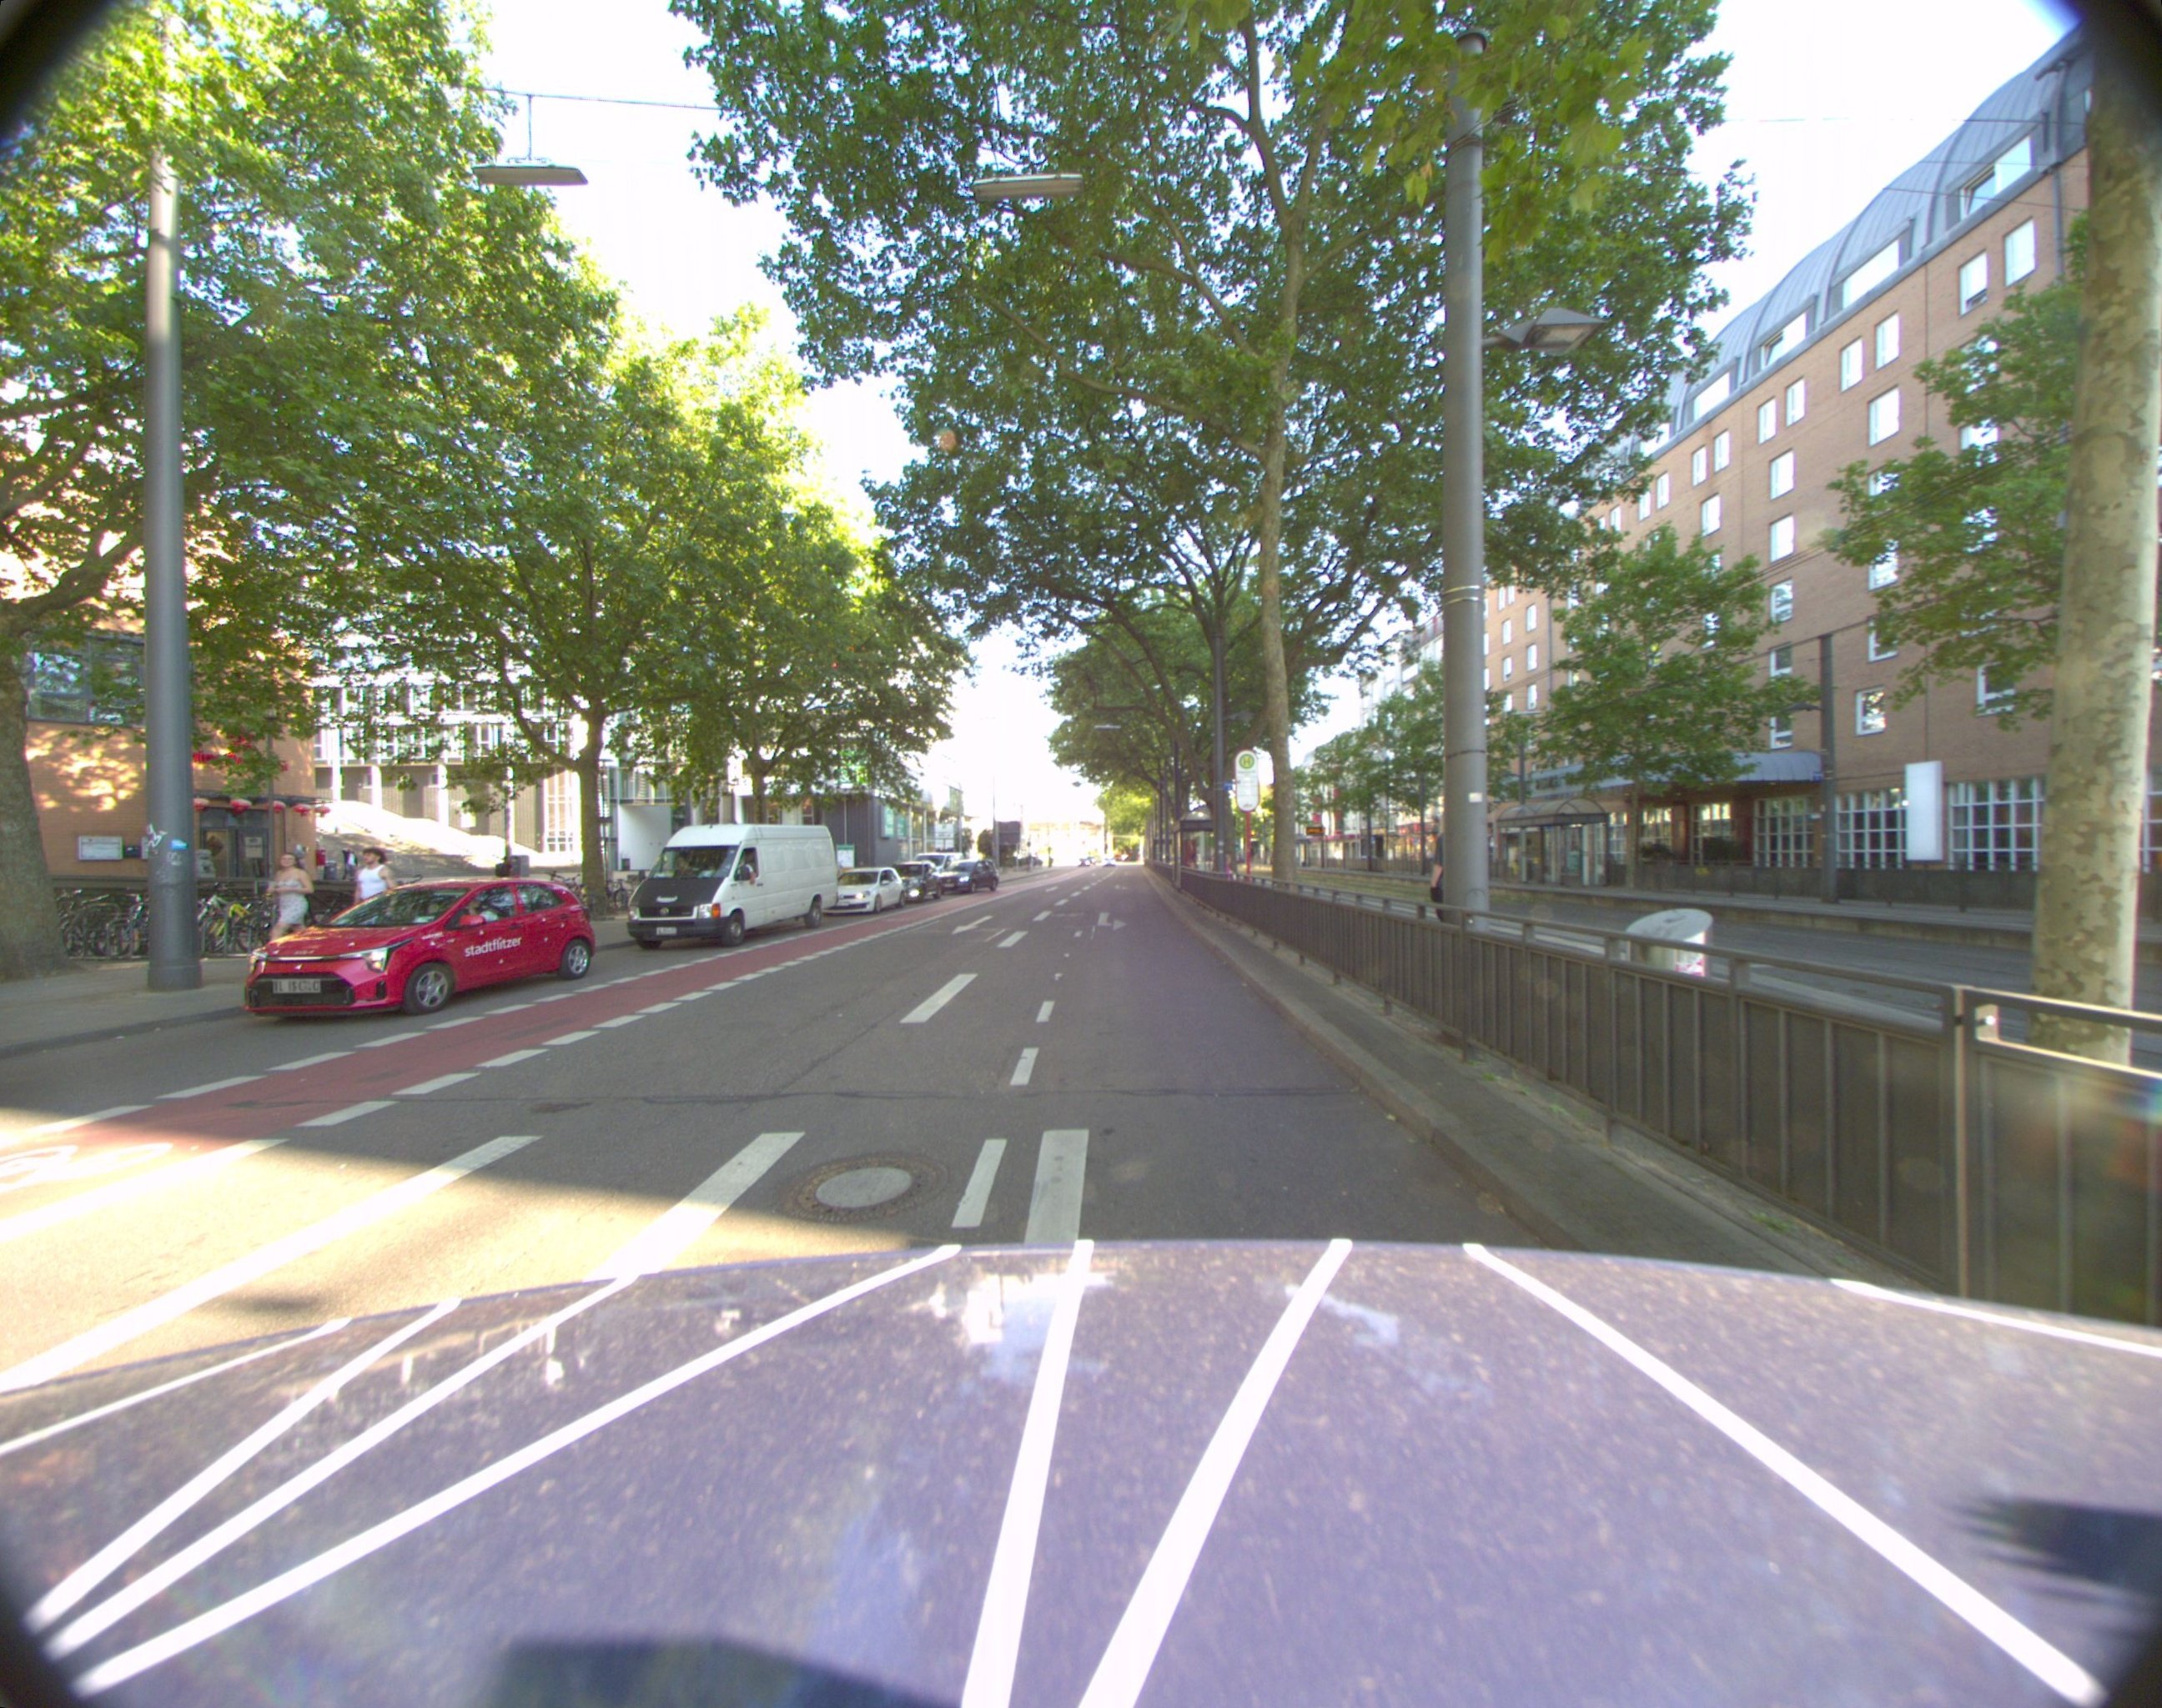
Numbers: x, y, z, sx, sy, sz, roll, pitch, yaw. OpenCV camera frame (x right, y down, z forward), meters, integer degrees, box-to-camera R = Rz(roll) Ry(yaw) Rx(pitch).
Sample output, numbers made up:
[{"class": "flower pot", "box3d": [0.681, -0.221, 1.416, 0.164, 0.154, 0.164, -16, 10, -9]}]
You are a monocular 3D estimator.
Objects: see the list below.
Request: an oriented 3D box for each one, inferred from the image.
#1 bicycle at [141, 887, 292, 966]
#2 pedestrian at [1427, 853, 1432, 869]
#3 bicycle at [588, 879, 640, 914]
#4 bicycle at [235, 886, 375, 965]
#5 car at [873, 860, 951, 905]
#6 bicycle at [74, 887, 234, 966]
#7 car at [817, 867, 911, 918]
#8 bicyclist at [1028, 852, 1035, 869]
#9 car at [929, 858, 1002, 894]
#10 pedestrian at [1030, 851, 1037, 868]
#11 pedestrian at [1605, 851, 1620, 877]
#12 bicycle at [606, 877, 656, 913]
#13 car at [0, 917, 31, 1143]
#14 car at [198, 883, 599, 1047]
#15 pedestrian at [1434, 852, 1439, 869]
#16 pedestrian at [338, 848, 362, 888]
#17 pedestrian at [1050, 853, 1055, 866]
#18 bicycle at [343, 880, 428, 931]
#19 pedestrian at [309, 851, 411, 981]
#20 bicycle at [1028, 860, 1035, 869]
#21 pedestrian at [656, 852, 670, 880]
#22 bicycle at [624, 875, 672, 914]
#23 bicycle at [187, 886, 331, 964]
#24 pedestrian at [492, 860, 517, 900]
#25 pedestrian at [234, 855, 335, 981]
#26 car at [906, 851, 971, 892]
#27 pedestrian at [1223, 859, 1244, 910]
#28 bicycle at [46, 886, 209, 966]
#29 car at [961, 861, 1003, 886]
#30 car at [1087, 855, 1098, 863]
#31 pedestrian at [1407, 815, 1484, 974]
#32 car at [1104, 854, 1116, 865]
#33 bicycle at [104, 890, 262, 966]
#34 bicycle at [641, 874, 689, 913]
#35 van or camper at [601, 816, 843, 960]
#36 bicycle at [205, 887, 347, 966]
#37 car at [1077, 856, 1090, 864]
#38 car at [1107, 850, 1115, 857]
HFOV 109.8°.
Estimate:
[{"class": "bicycle", "box3d": [-14.842, 1.199, 13.123, 0.447, 1.187, 1.850, 0, 0, 1]}, {"class": "pedestrian", "box3d": [31.900, 0.645, 69.514, 0.438, 1.497, 0.659, 0, 1, 23]}, {"class": "bicycle", "box3d": [-15.219, 1.364, 24.792, 0.516, 1.027, 1.850, 0, 0, 1]}, {"class": "bicycle", "box3d": [-13.317, 1.194, 13.126, 0.482, 1.187, 1.850, 0, 0, 1]}, {"class": "car", "box3d": [-6.713, 1.082, 30.593, 1.818, 1.610, 4.229, -1, 0, 5]}, {"class": "bicycle", "box3d": [-15.923, 1.203, 13.133, 0.458, 1.187, 1.850, 0, 0, 1]}, {"class": "car", "box3d": [-6.987, 1.186, 24.879, 1.682, 1.420, 4.001, -1, 0, 3]}, {"class": "bicyclist", "box3d": [-5.305, 0.689, 80.955, 0.673, 1.707, 0.715, -1, 1, 1]}, {"class": "car", "box3d": [-5.546, 1.014, 37.034, 1.964, 1.610, 4.335, -1, 0, 14]}, {"class": "pedestrian", "box3d": [-5.366, 0.610, 86.345, 0.676, 1.853, 0.741, -2, 1, 1]}, {"class": "pedestrian", "box3d": [28.912, 0.554, 41.332, 0.519, 1.427, 0.516, 0, 1, 4]}, {"class": "bicycle", "box3d": [-14.658, 1.319, 24.816, 0.522, 1.088, 1.797, 0, 0, 1]}, {"class": "car", "box3d": [-7.991, 1.173, 3.000, 1.743, 1.476, 4.251, -1, 0, 0]}, {"class": "car", "box3d": [-7.944, 1.177, 9.383, 1.606, 1.449, 3.651, -1, 0, 0]}, {"class": "pedestrian", "box3d": [32.440, 0.612, 69.323, 0.438, 1.511, 0.659, 0, 1, 23]}, {"class": "pedestrian", "box3d": [-37.813, 0.722, 39.307, 0.878, 2.025, 0.584, -1, 1, -43]}, {"class": "pedestrian", "box3d": [-3.998, 0.801, 106.768, 0.676, 1.853, 0.741, -2, 1, 1]}, {"class": "bicycle", "box3d": [-17.882, 1.286, 19.590, 0.517, 1.187, 1.790, 0, 0, 1]}, {"class": "pedestrian", "box3d": [-10.686, 0.898, 11.287, 0.643, 1.834, 0.814, 3, 0, -4]}, {"class": "bicycle", "box3d": [-5.309, 1.095, 80.942, 0.580, 0.879, 1.671, -1, 0, 1]}, {"class": "pedestrian", "box3d": [-32.559, 0.915, 59.125, 0.836, 2.144, 0.858, -1, 1, -23]}, {"class": "bicycle", "box3d": [-14.114, 1.297, 24.818, 0.495, 1.187, 1.850, 0, 0, 1]}, {"class": "bicycle", "box3d": [-14.325, 1.200, 13.323, 0.484, 1.187, 1.850, 0, 0, 1]}, {"class": "pedestrian", "box3d": [-23.018, 1.028, 30.347, 0.719, 1.549, 0.639, -1, 1, -35]}, {"class": "pedestrian", "box3d": [-11.630, 0.907, 11.120, 0.648, 1.766, 0.764, -1, 1, -6]}, {"class": "car", "box3d": [-7.475, 0.860, 40.492, 1.965, 1.983, 4.960, -1, 0, 7]}, {"class": "pedestrian", "box3d": [3.933, 0.776, 19.620, 0.500, 1.308, 0.419, 0, 1, 8]}, {"class": "bicycle", "box3d": [-16.386, 1.198, 13.136, 0.435, 1.187, 1.850, 0, 0, 1]}, {"class": "car", "box3d": [-5.972, 1.174, 46.369, 1.801, 1.369, 4.001, 0, 0, 3]}, {"class": "car", "box3d": [2.044, 0.919, 138.906, 1.801, 1.438, 4.001, 0, 0, 3]}, {"class": "pedestrian", "box3d": [4.464, 0.469, 9.331, 0.606, 1.873, 0.622, -2, 3, -11]}, {"class": "car", "box3d": [4.176, 0.804, 109.925, 1.733, 1.432, 4.000, -2, 0, 2]}, {"class": "bicycle", "box3d": [-15.425, 1.236, 13.131, 0.485, 1.118, 1.850, 0, 0, 1]}, {"class": "bicycle", "box3d": [-13.571, 1.268, 24.839, 0.522, 1.187, 1.850, 0, 0, 1]}, {"class": "van or camper", "box3d": [-7.550, 0.621, 17.084, 1.998, 2.563, 6.575, -2, 0, 3]}, {"class": "bicycle", "box3d": [-13.820, 1.204, 13.132, 0.448, 1.187, 1.850, 0, 0, 1]}, {"class": "car", "box3d": [0.403, 0.977, 123.886, 1.801, 1.369, 4.001, 0, 0, 3]}, {"class": "car", "box3d": [8.208, -0.087, 205.434, 1.998, 2.002, 4.001, 0, 0, 4]}]
